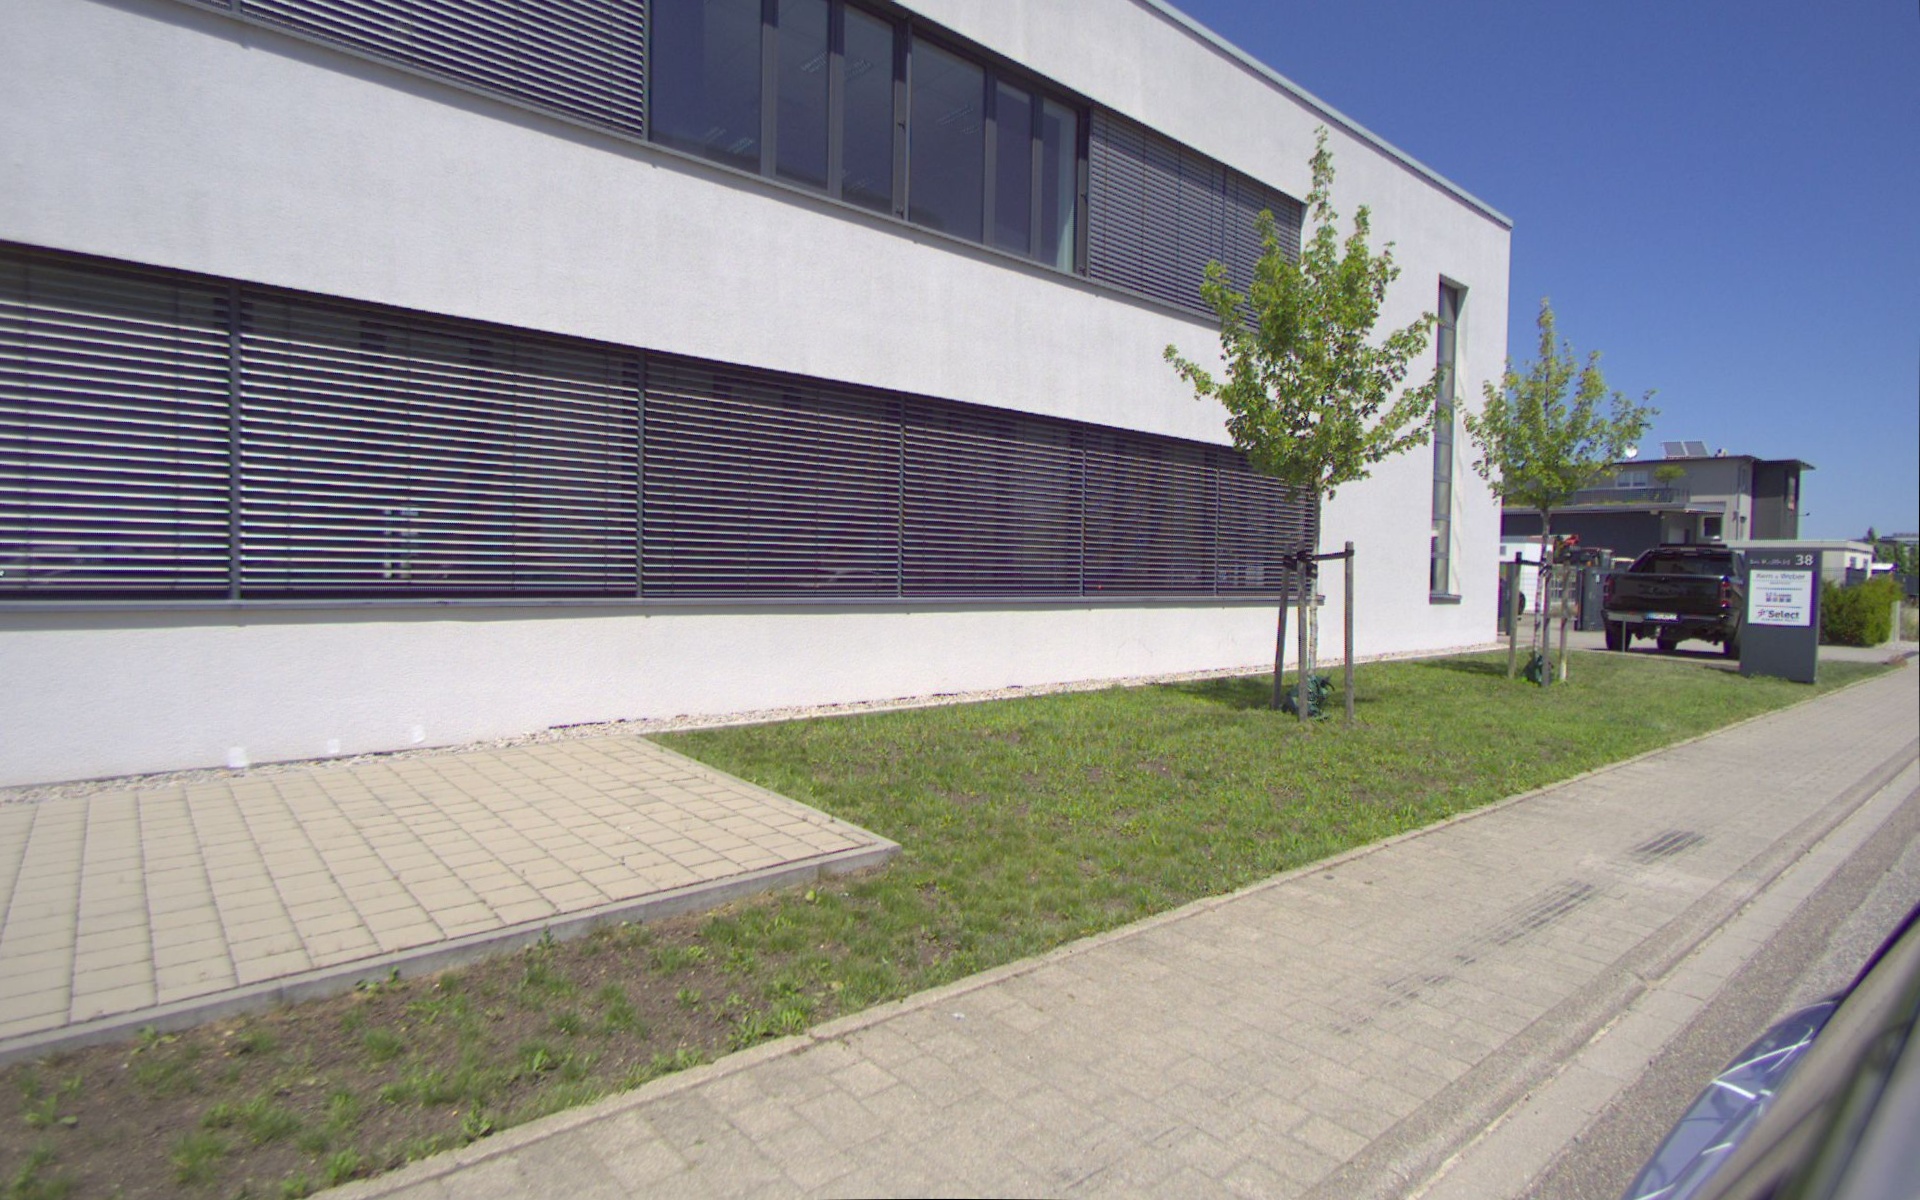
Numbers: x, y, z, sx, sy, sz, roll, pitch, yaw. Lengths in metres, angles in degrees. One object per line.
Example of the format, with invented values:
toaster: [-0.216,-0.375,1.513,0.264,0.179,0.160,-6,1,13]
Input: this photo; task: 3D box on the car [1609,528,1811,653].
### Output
car: [14.399,-0.120,19.268,5.700,2.039,1.997,2,1,-43]

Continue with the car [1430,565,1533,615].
car: [17.958,-0.382,34.790,3.932,1.507,1.858,-3,4,-41]

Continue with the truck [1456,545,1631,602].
truck: [35.630,-1.664,62.200,2.642,3.216,8.963,-1,2,-40]

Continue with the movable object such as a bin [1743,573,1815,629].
movable object such as a bin: [23.690,0.011,29.283,1.150,1.541,1.386,0,3,-41]

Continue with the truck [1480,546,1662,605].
truck: [34.071,-1.426,56.823,2.579,3.059,8.352,-1,2,-40]
